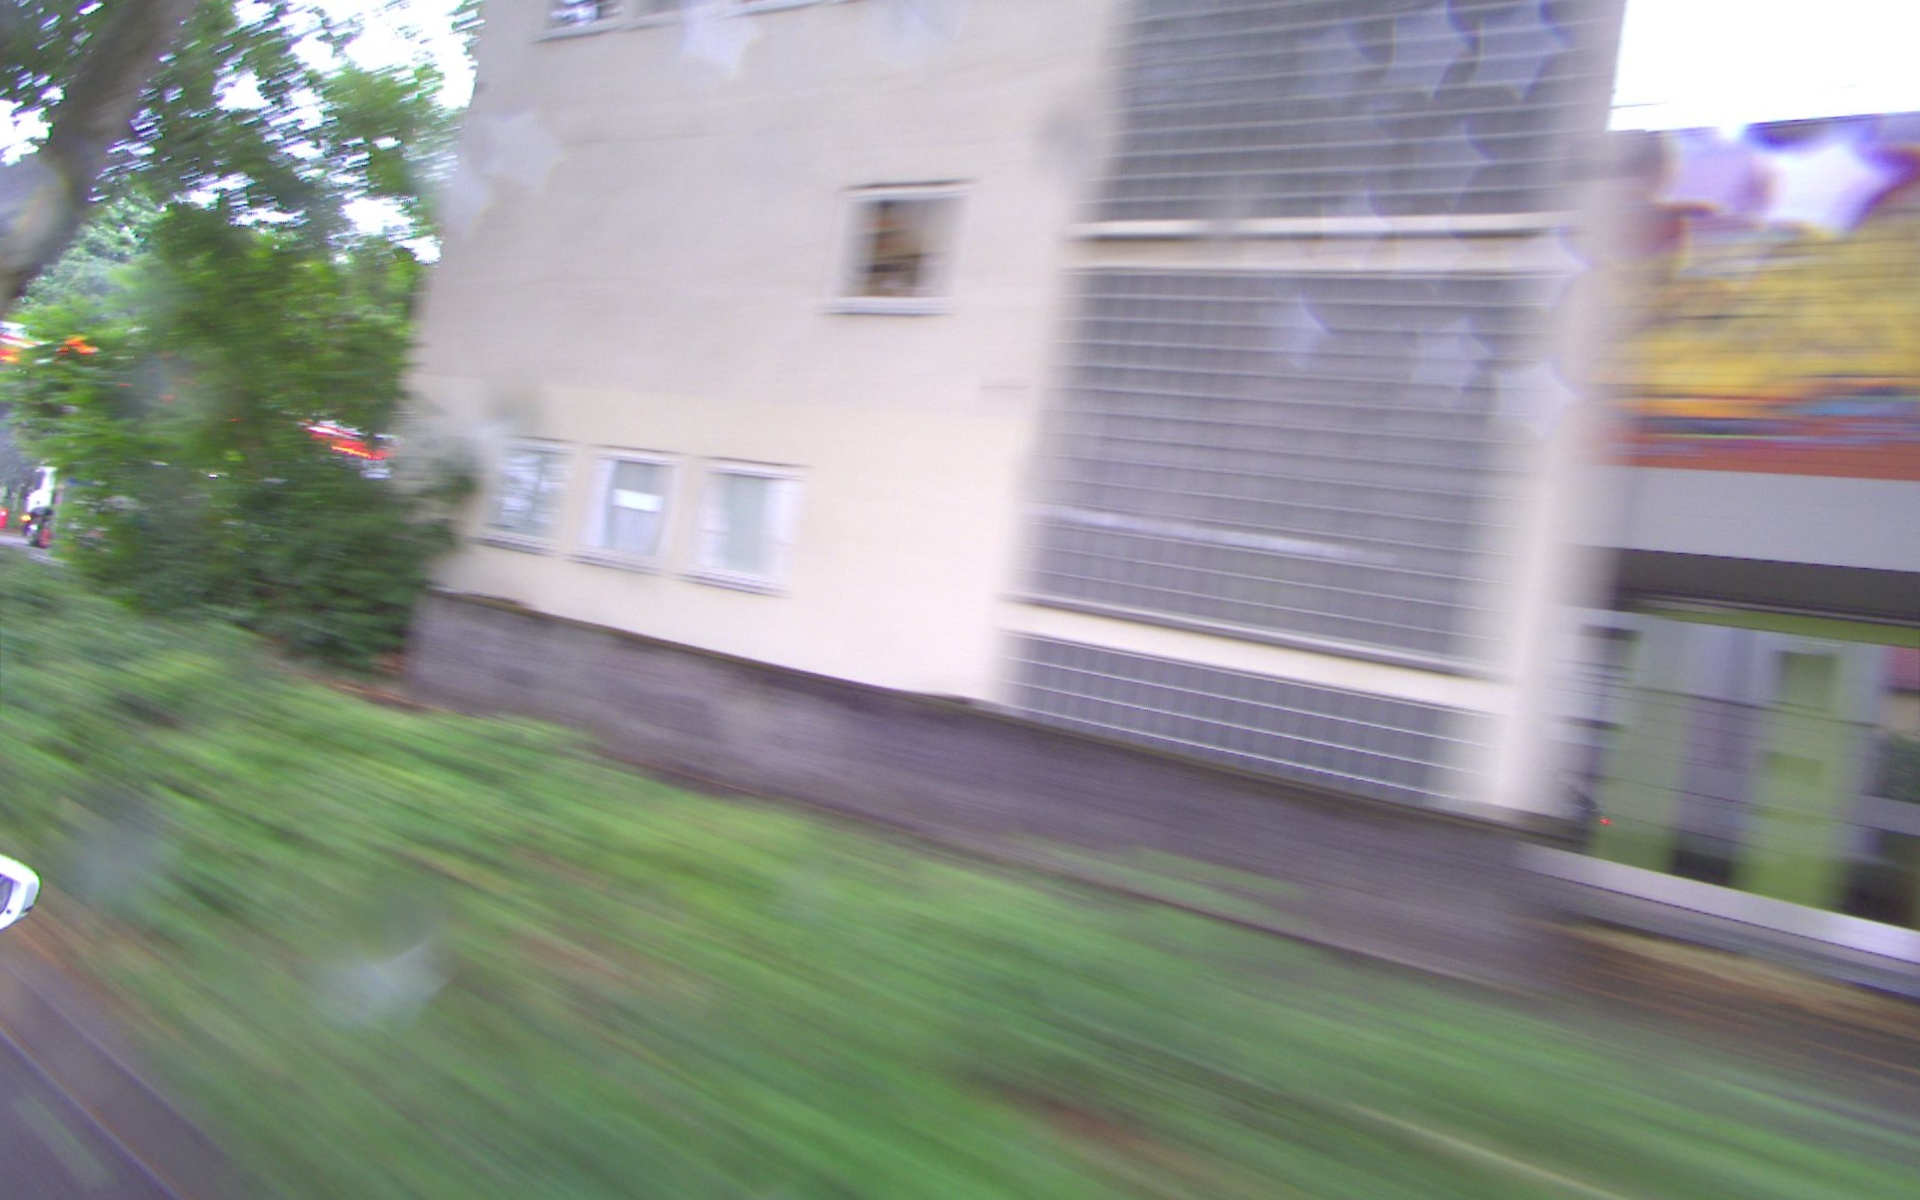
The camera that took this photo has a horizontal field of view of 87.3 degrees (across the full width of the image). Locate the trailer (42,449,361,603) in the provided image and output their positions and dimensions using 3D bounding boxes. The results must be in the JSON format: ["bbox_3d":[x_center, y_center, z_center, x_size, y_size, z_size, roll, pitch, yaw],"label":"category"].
[{"bbox_3d":[-24.672,-2.495,32.448,11.589,3.546,3.906,7,-2,31],"label":"trailer"}]

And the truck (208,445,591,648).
[{"bbox_3d":[-13.886,-1.441,24.425,10.214,3.719,3.932,7,-2,36],"label":"truck"}]

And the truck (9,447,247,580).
[{"bbox_3d":[-28.993,-3.012,35.069,6.861,3.557,3.913,7,-2,30],"label":"truck"}]
